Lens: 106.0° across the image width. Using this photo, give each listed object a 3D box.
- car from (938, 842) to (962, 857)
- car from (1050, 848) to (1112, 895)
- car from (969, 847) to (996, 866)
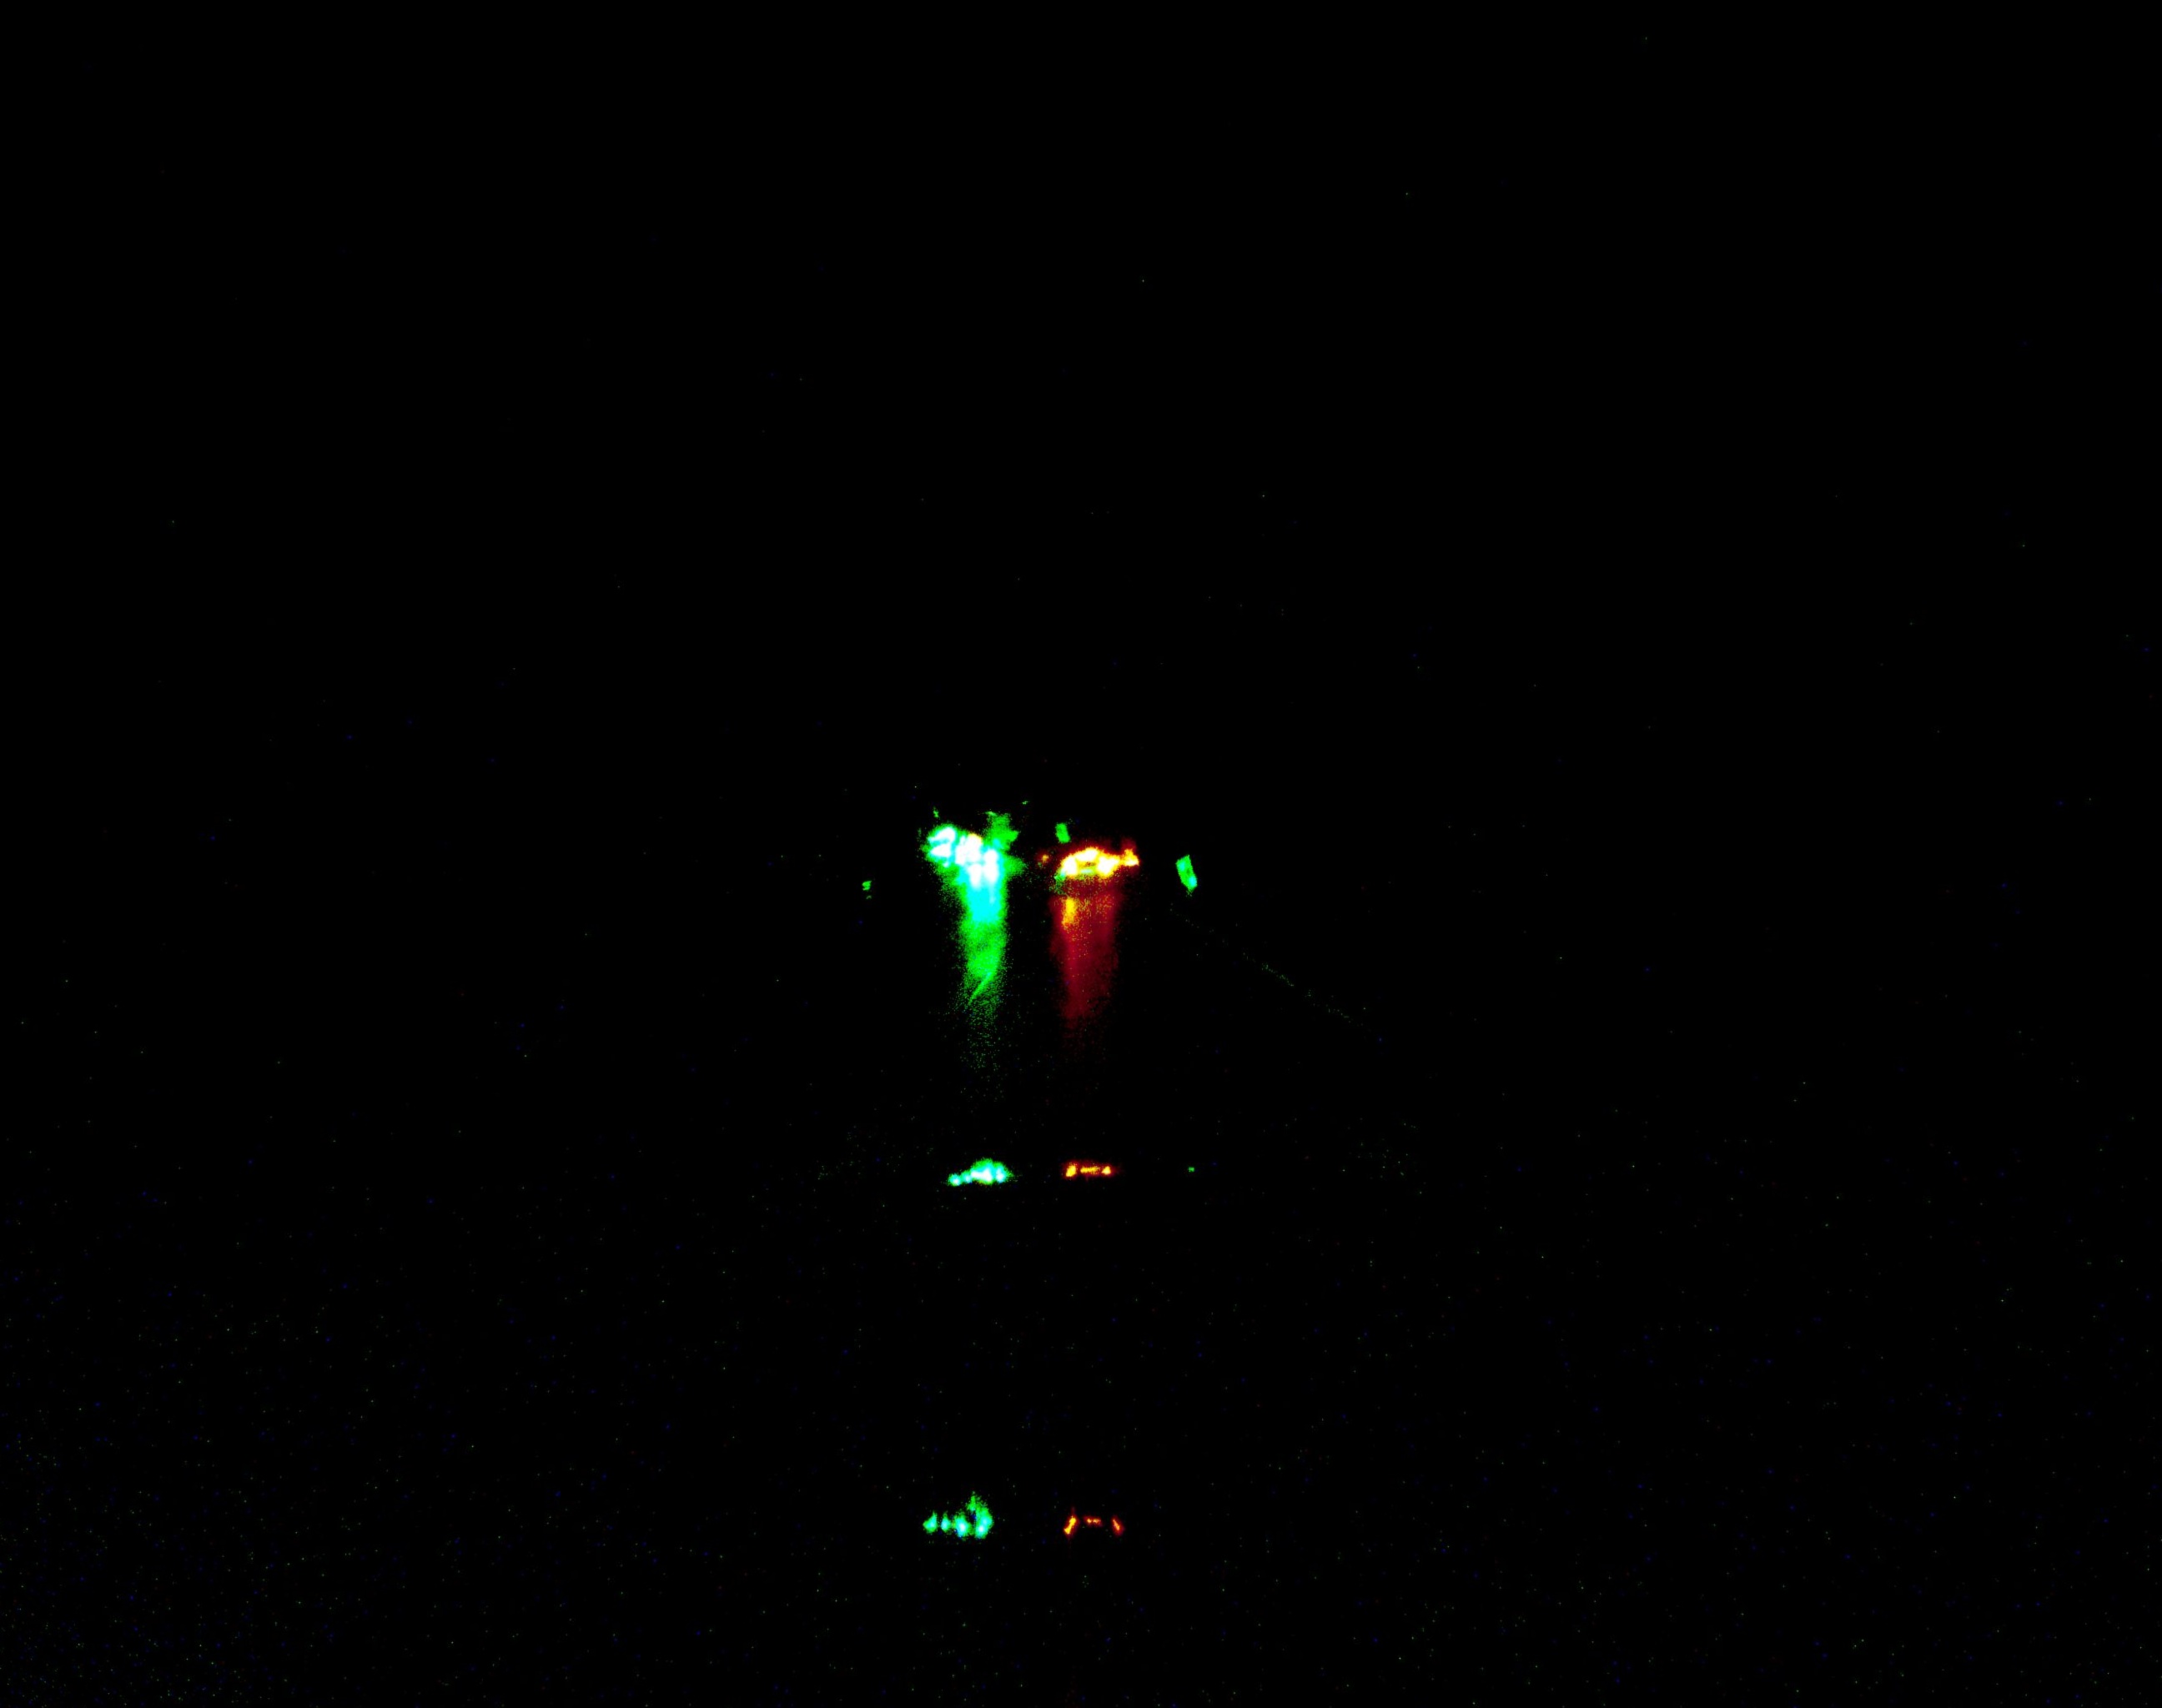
[{"bbox_3d":[-16.852,-0.564,104.507,2.002,1.708,4.948,-3,1,-22],"label":"car"},{"bbox_3d":[-0.071,0.606,31.721,1.990,1.628,4.976,-1,1,-5],"label":"car"},{"bbox_3d":[-9.048,0.196,74.671,1.932,1.584,4.963,-3,1,-12],"label":"car"}]
